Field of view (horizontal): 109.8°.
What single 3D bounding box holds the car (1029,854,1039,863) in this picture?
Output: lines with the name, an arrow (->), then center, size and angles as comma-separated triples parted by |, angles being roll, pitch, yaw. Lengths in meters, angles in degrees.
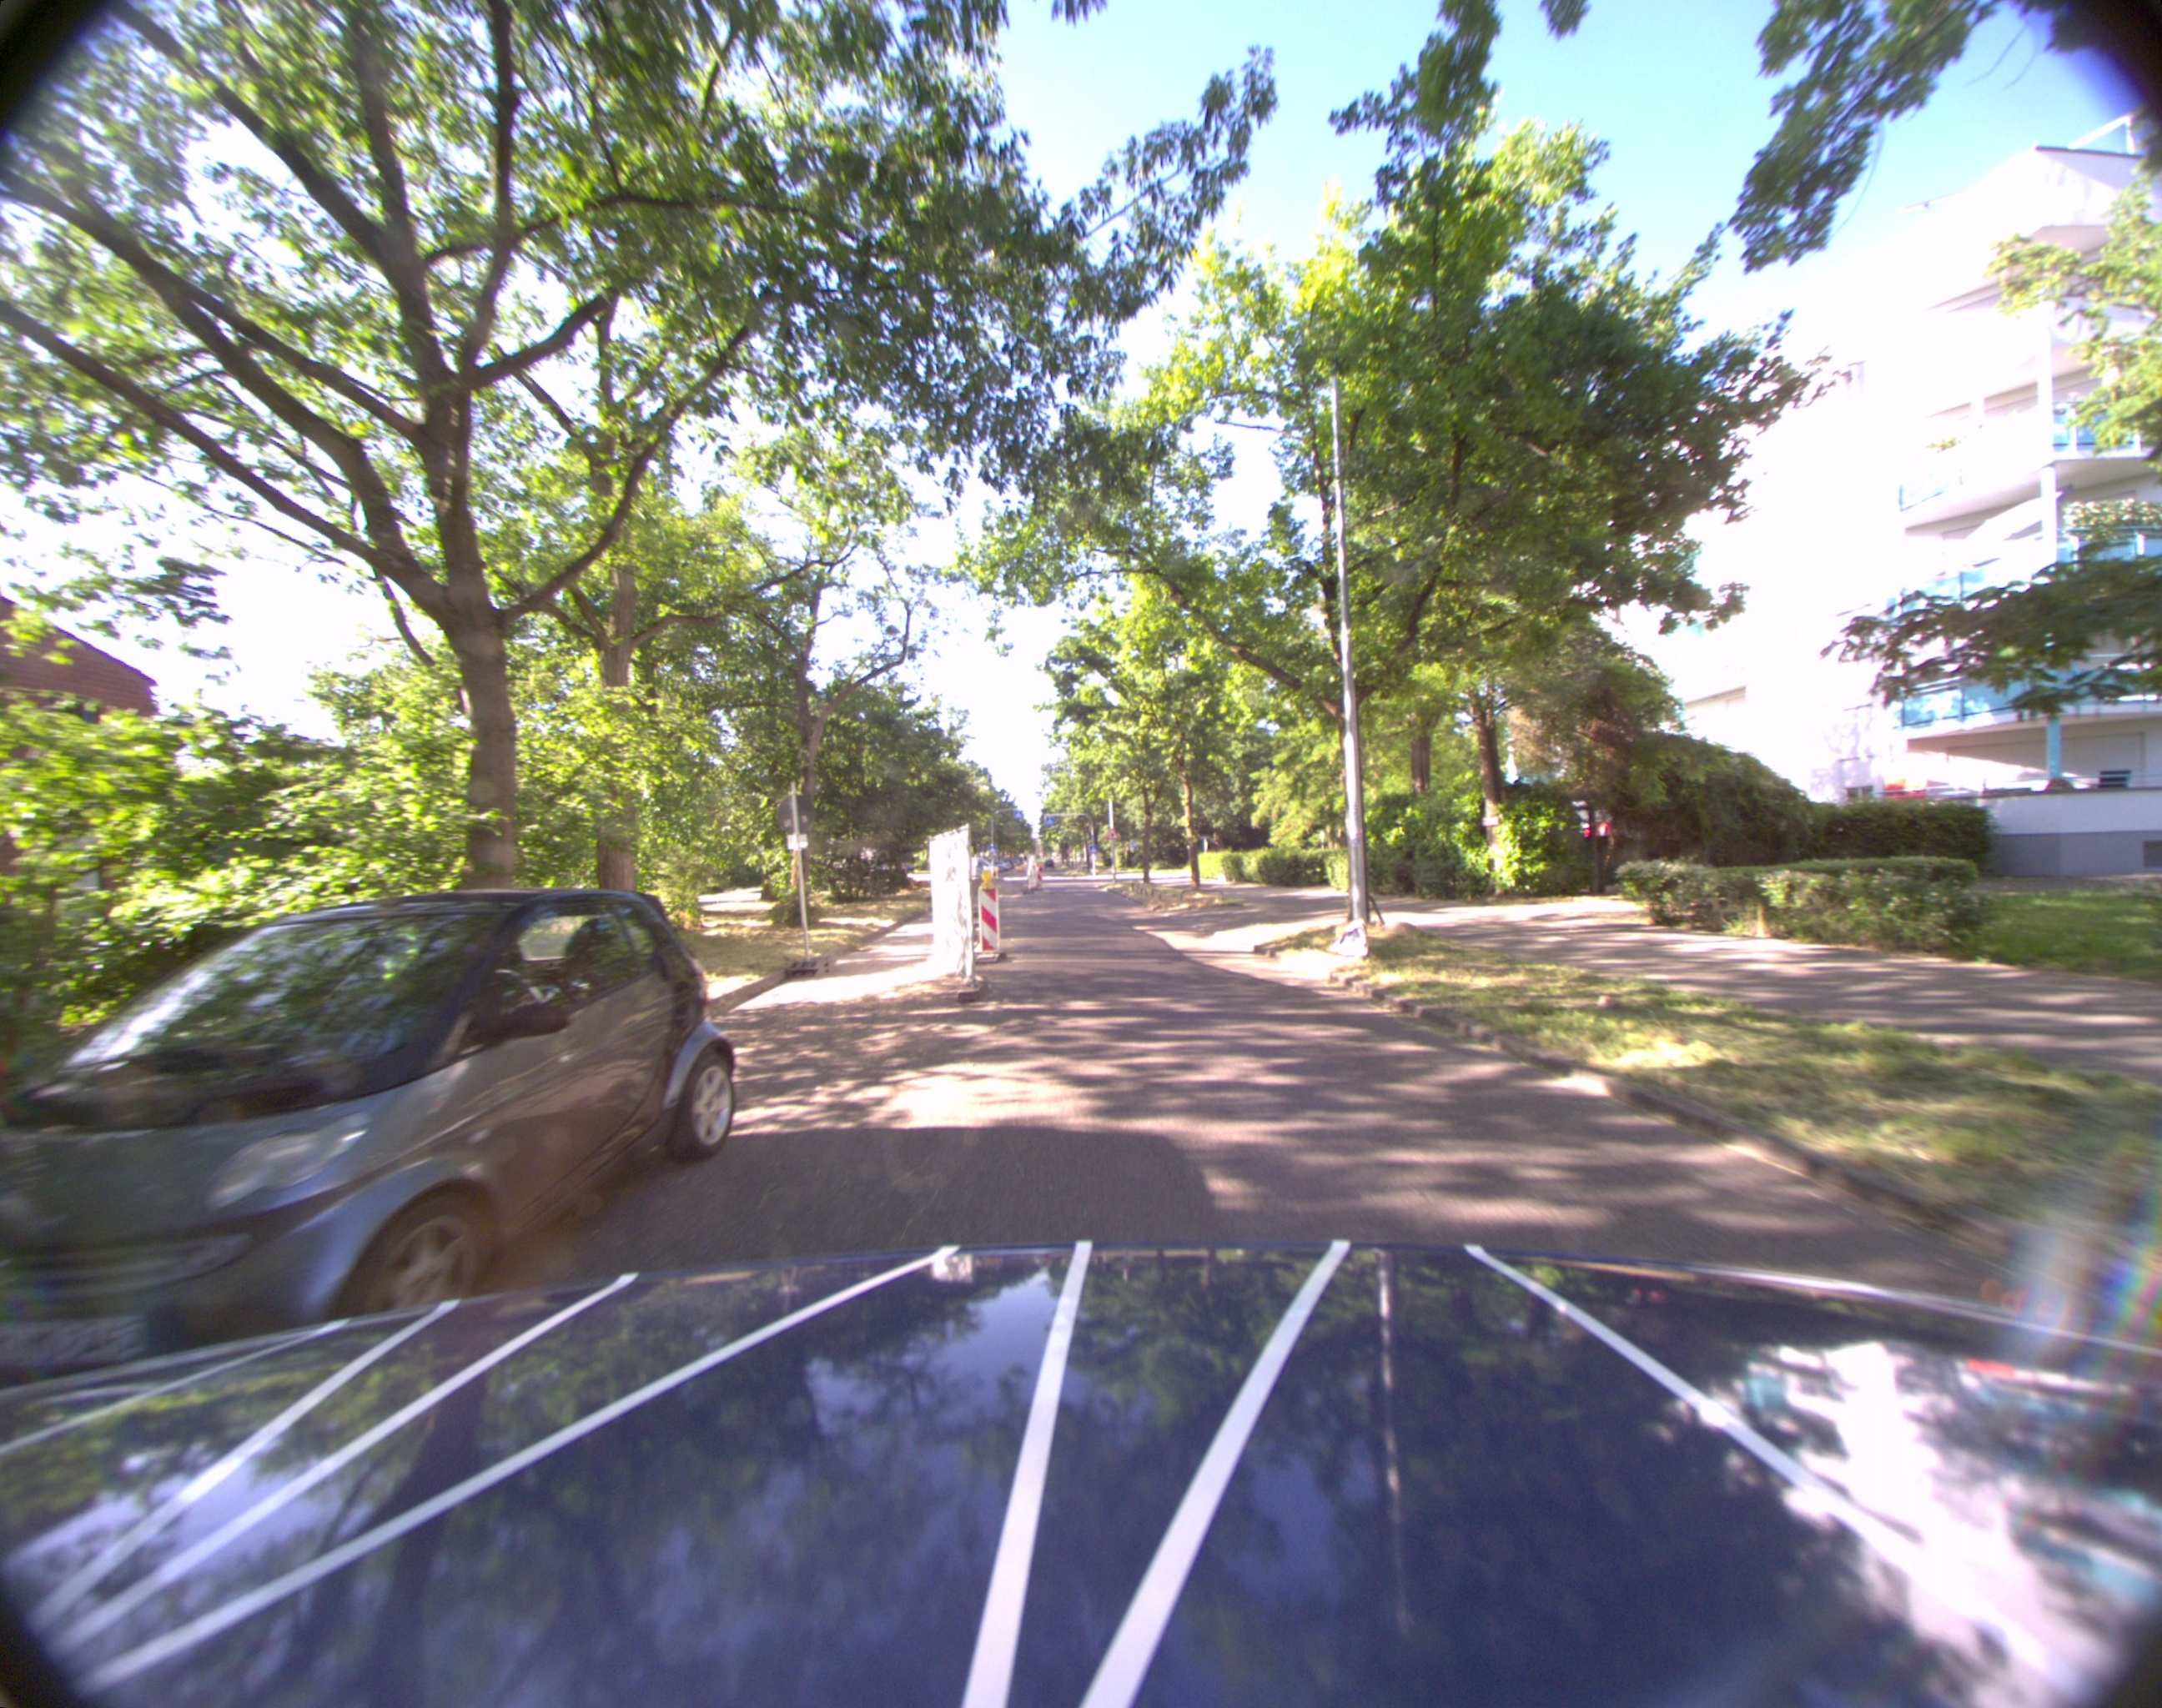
car -> -10.115, 0.947, 163.666 | 1.999, 1.871, 3.999 | 0, 0, -2

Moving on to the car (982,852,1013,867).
car -> -11.934, 0.809, 108.804 | 4.246, 1.993, 1.565 | -1, 0, -7

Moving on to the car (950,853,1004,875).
car -> -10.378, 0.989, 76.161 | 5.270, 1.993, 1.999 | -1, 0, -4

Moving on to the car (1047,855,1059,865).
car -> -5.240, 1.046, 142.191 | 1.998, 1.805, 4.000 | -3, 0, 0

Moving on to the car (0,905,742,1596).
car -> -2.823, 1.088, 3.203 | 1.497, 1.500, 2.677 | -3, 0, 0

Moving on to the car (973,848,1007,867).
car -> -12.396, 0.446, 103.515 | 4.413, 2.531, 1.888 | -1, 0, -7
